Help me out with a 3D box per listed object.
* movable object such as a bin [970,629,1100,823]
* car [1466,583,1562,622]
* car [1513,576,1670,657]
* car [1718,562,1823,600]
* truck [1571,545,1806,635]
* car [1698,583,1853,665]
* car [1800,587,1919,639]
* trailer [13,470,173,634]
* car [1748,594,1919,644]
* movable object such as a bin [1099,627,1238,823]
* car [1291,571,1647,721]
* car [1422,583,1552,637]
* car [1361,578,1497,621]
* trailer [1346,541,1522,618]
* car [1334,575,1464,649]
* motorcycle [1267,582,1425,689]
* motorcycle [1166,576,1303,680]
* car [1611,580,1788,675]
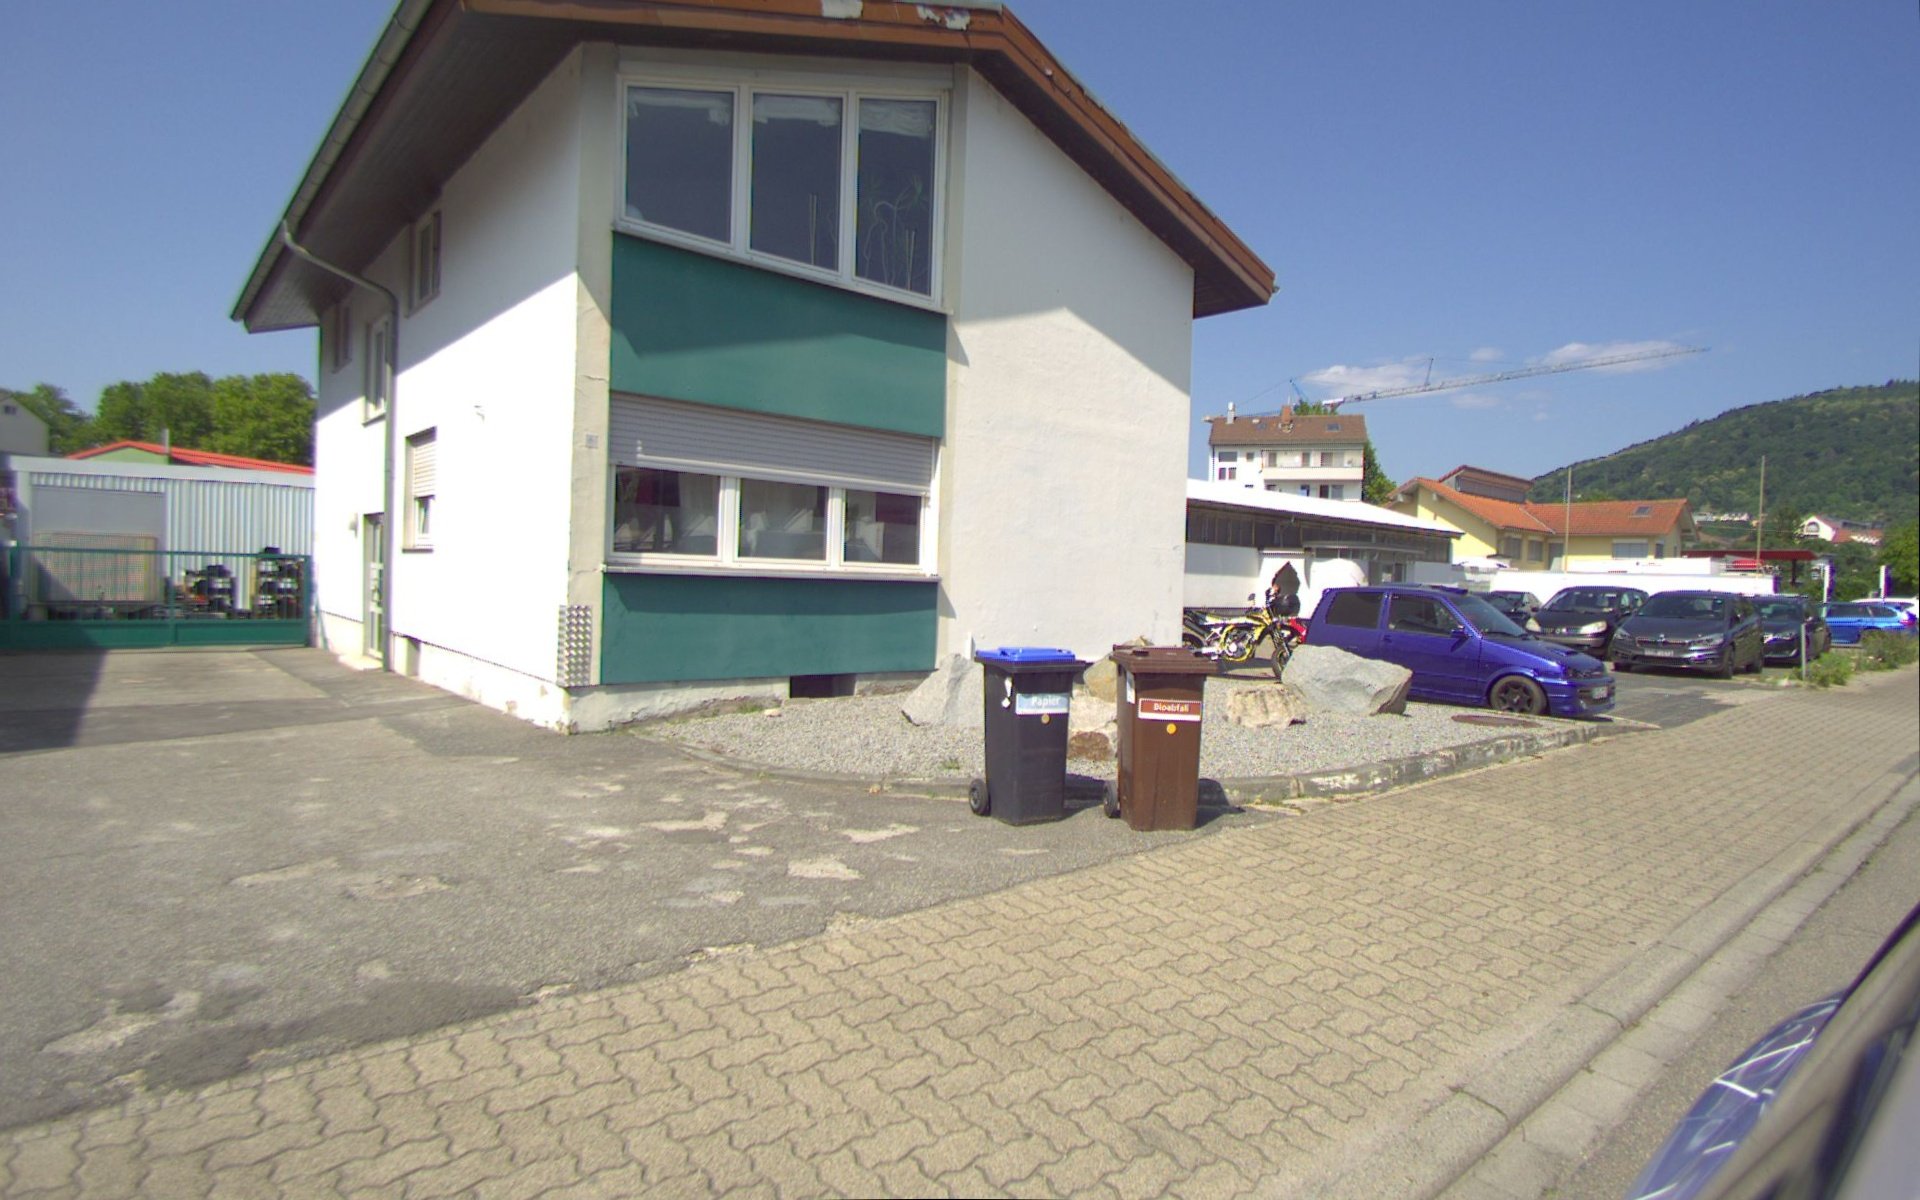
[{"bbox_3d":[0.403,0.656,5.529,0.477,0.958,0.516,1,2,-29],"label":"movable object such as a bin"},{"bbox_3d":[22.167,0.065,40.463,3.952,1.409,1.892,0,3,-37],"label":"car"},{"bbox_3d":[14.024,0.344,22.435,3.552,1.614,1.765,1,2,-37],"label":"car"},{"bbox_3d":[63.600,-1.542,79.554,5.962,2.711,2.239,3,3,28],"label":"car"},{"bbox_3d":[30.225,-0.316,42.334,2.482,3.467,7.532,0,-1,-40],"label":"truck"},{"bbox_3d":[18.315,0.467,22.640,4.865,1.587,1.862,0,2,-41],"label":"car"},{"bbox_3d":[32.343,0.460,35.460,1.736,1.704,4.207,-1,-2,-41],"label":"car"},{"bbox_3d":[-17.346,-0.916,20.183,4.126,2.909,2.014,3,0,45],"label":"trailer"},{"bbox_3d":[27.799,0.561,31.948,1.859,1.460,4.360,1,0,-41],"label":"car"},{"bbox_3d":[1.106,0.649,5.457,0.546,0.958,0.570,2,1,-7],"label":"movable object such as a bin"},{"bbox_3d":[5.756,0.434,11.691,1.643,1.416,3.261,2,1,-40],"label":"car"},{"bbox_3d":[14.543,0.240,27.847,4.025,1.341,1.646,0,2,-38],"label":"car"},{"bbox_3d":[15.783,-0.030,34.095,4.099,1.341,1.719,1,2,-20],"label":"car"},{"bbox_3d":[25.824,-1.208,55.632,3.009,3.910,8.364,0,2,-35],"label":"trailer"},{"bbox_3d":[10.394,0.216,23.803,1.757,1.514,4.092,4,3,38],"label":"car"},{"bbox_3d":[5.357,0.448,14.134,0.783,1.295,1.872,0,3,-43],"label":"motorcycle"},{"bbox_3d":[3.826,0.358,14.086,1.733,1.295,0.792,3,2,20],"label":"motorcycle"},{"bbox_3d":[14.176,0.452,19.315,4.218,1.577,1.815,0,2,-41],"label":"car"}]
